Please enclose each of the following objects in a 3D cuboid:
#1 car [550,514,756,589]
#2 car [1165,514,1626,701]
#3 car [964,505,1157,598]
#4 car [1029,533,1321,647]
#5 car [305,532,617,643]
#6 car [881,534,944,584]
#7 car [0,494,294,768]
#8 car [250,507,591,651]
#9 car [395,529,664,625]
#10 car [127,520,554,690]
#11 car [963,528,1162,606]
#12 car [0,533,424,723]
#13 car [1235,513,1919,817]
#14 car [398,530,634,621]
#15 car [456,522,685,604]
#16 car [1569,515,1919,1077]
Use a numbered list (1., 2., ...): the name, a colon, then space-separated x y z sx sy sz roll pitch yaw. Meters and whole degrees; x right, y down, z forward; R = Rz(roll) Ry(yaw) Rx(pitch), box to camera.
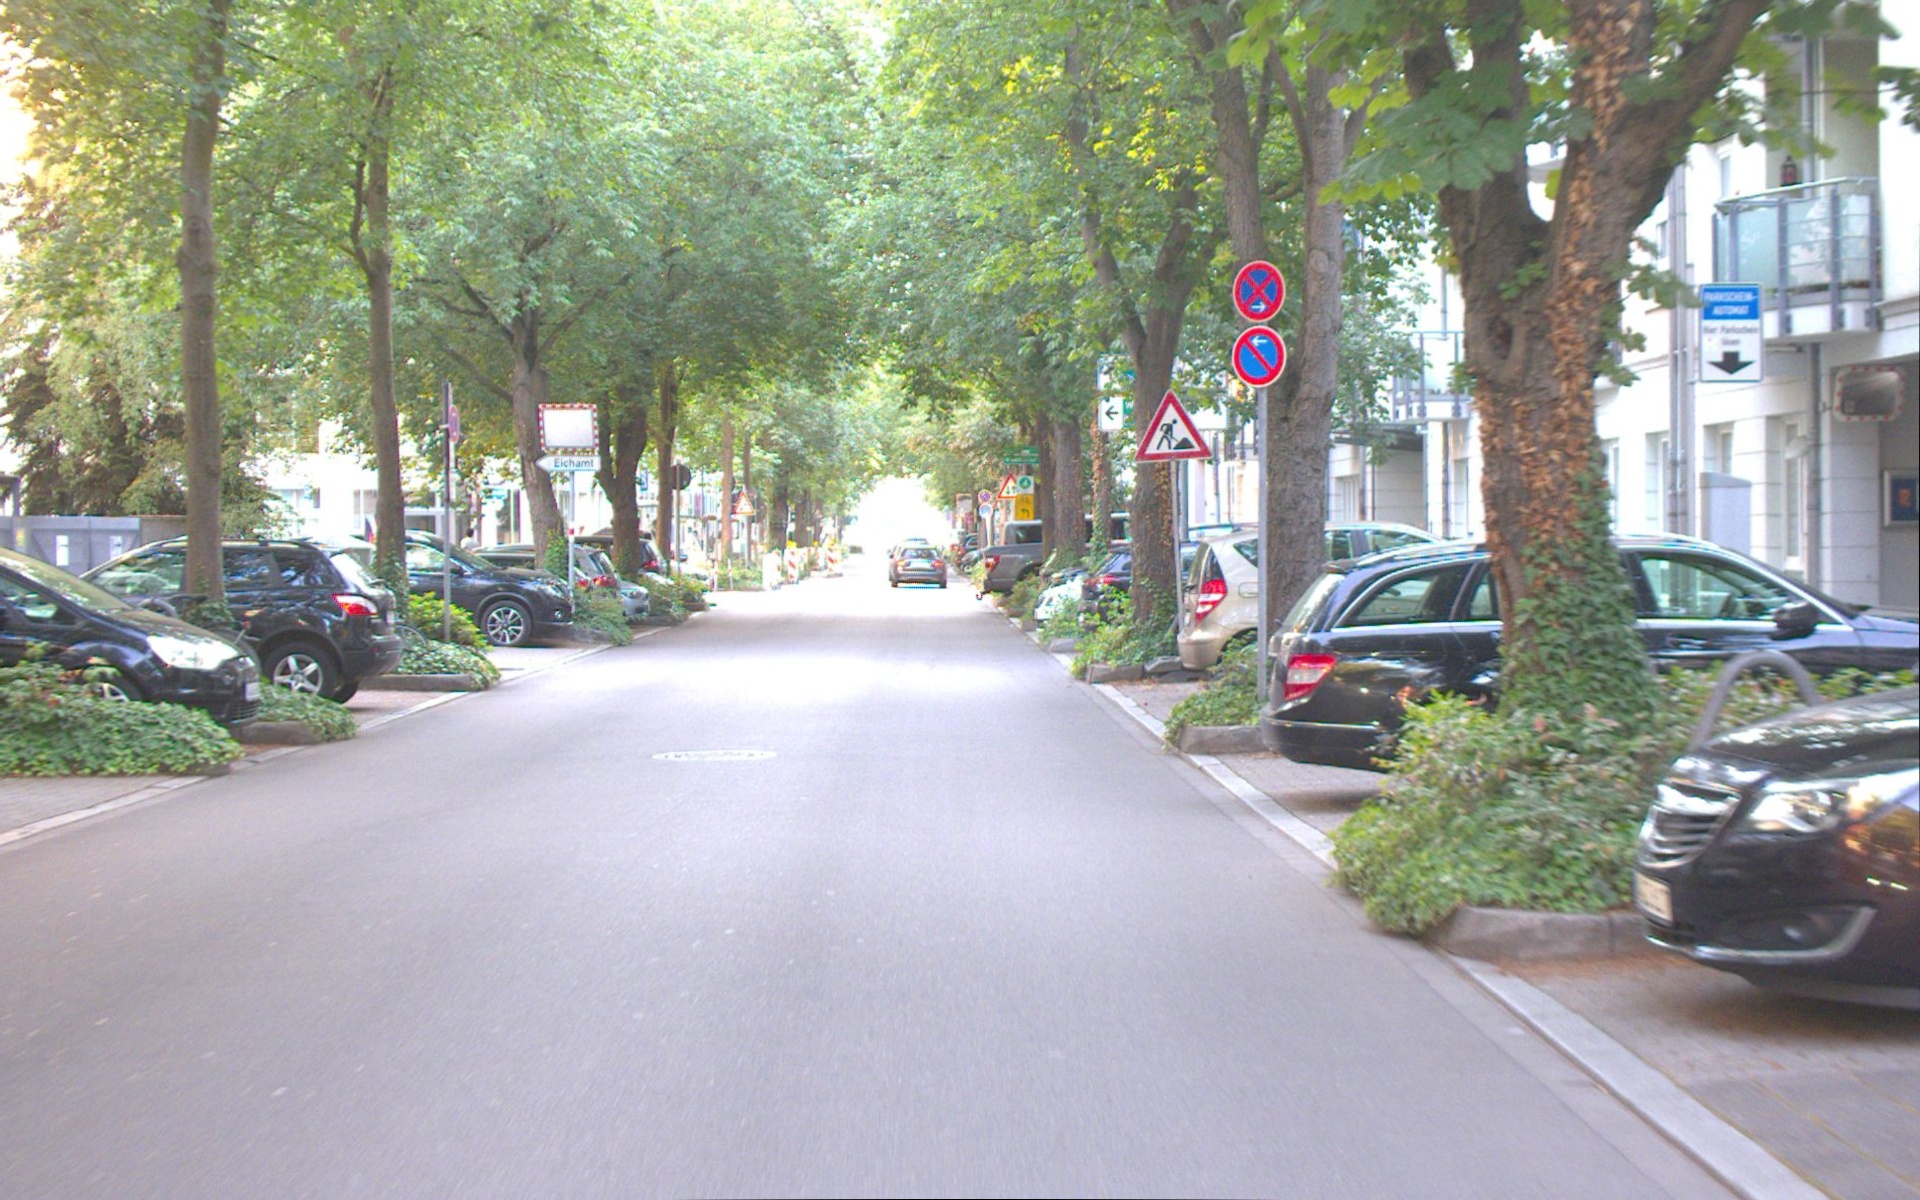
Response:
1. car: -7.386 -1.175 82.983 4.762 1.624 1.963 -2 1 0
2. car: 4.047 0.052 32.417 4.050 1.592 1.825 -2 1 0
3. car: 2.260 -1.102 78.230 4.268 1.955 1.963 -2 1 0
4. car: 3.235 -0.167 52.434 4.268 1.560 1.963 -2 1 0
5. car: -8.079 -0.221 55.979 4.762 1.624 1.963 -2 1 0
6. car: -1.530 -1.345 111.695 1.956 1.560 4.283 -2 1 0
7. car: -7.356 0.243 24.791 4.682 1.847 1.963 -2 1 0
8. car: -8.055 -0.328 51.655 4.762 1.977 1.963 -2 1 0
9. car: -8.021 -0.449 64.433 4.762 1.624 1.963 -2 1 0
10. car: -7.178 0.037 40.210 4.595 1.801 1.963 -2 1 0
11. car: 2.225 -0.736 75.681 4.268 1.560 1.963 -2 1 0
12. car: -7.338 0.252 32.517 4.203 1.630 1.963 -2 1 0
13. car: 3.857 0.319 19.306 4.508 1.516 1.995 -2 1 3
14. car: -7.964 -0.450 61.956 3.987 1.505 1.800 -2 1 0
15. car: -8.471 -0.817 75.058 4.762 1.624 1.963 -2 1 0
16. car: 4.383 0.456 10.398 4.682 1.516 1.963 -2 1 0
